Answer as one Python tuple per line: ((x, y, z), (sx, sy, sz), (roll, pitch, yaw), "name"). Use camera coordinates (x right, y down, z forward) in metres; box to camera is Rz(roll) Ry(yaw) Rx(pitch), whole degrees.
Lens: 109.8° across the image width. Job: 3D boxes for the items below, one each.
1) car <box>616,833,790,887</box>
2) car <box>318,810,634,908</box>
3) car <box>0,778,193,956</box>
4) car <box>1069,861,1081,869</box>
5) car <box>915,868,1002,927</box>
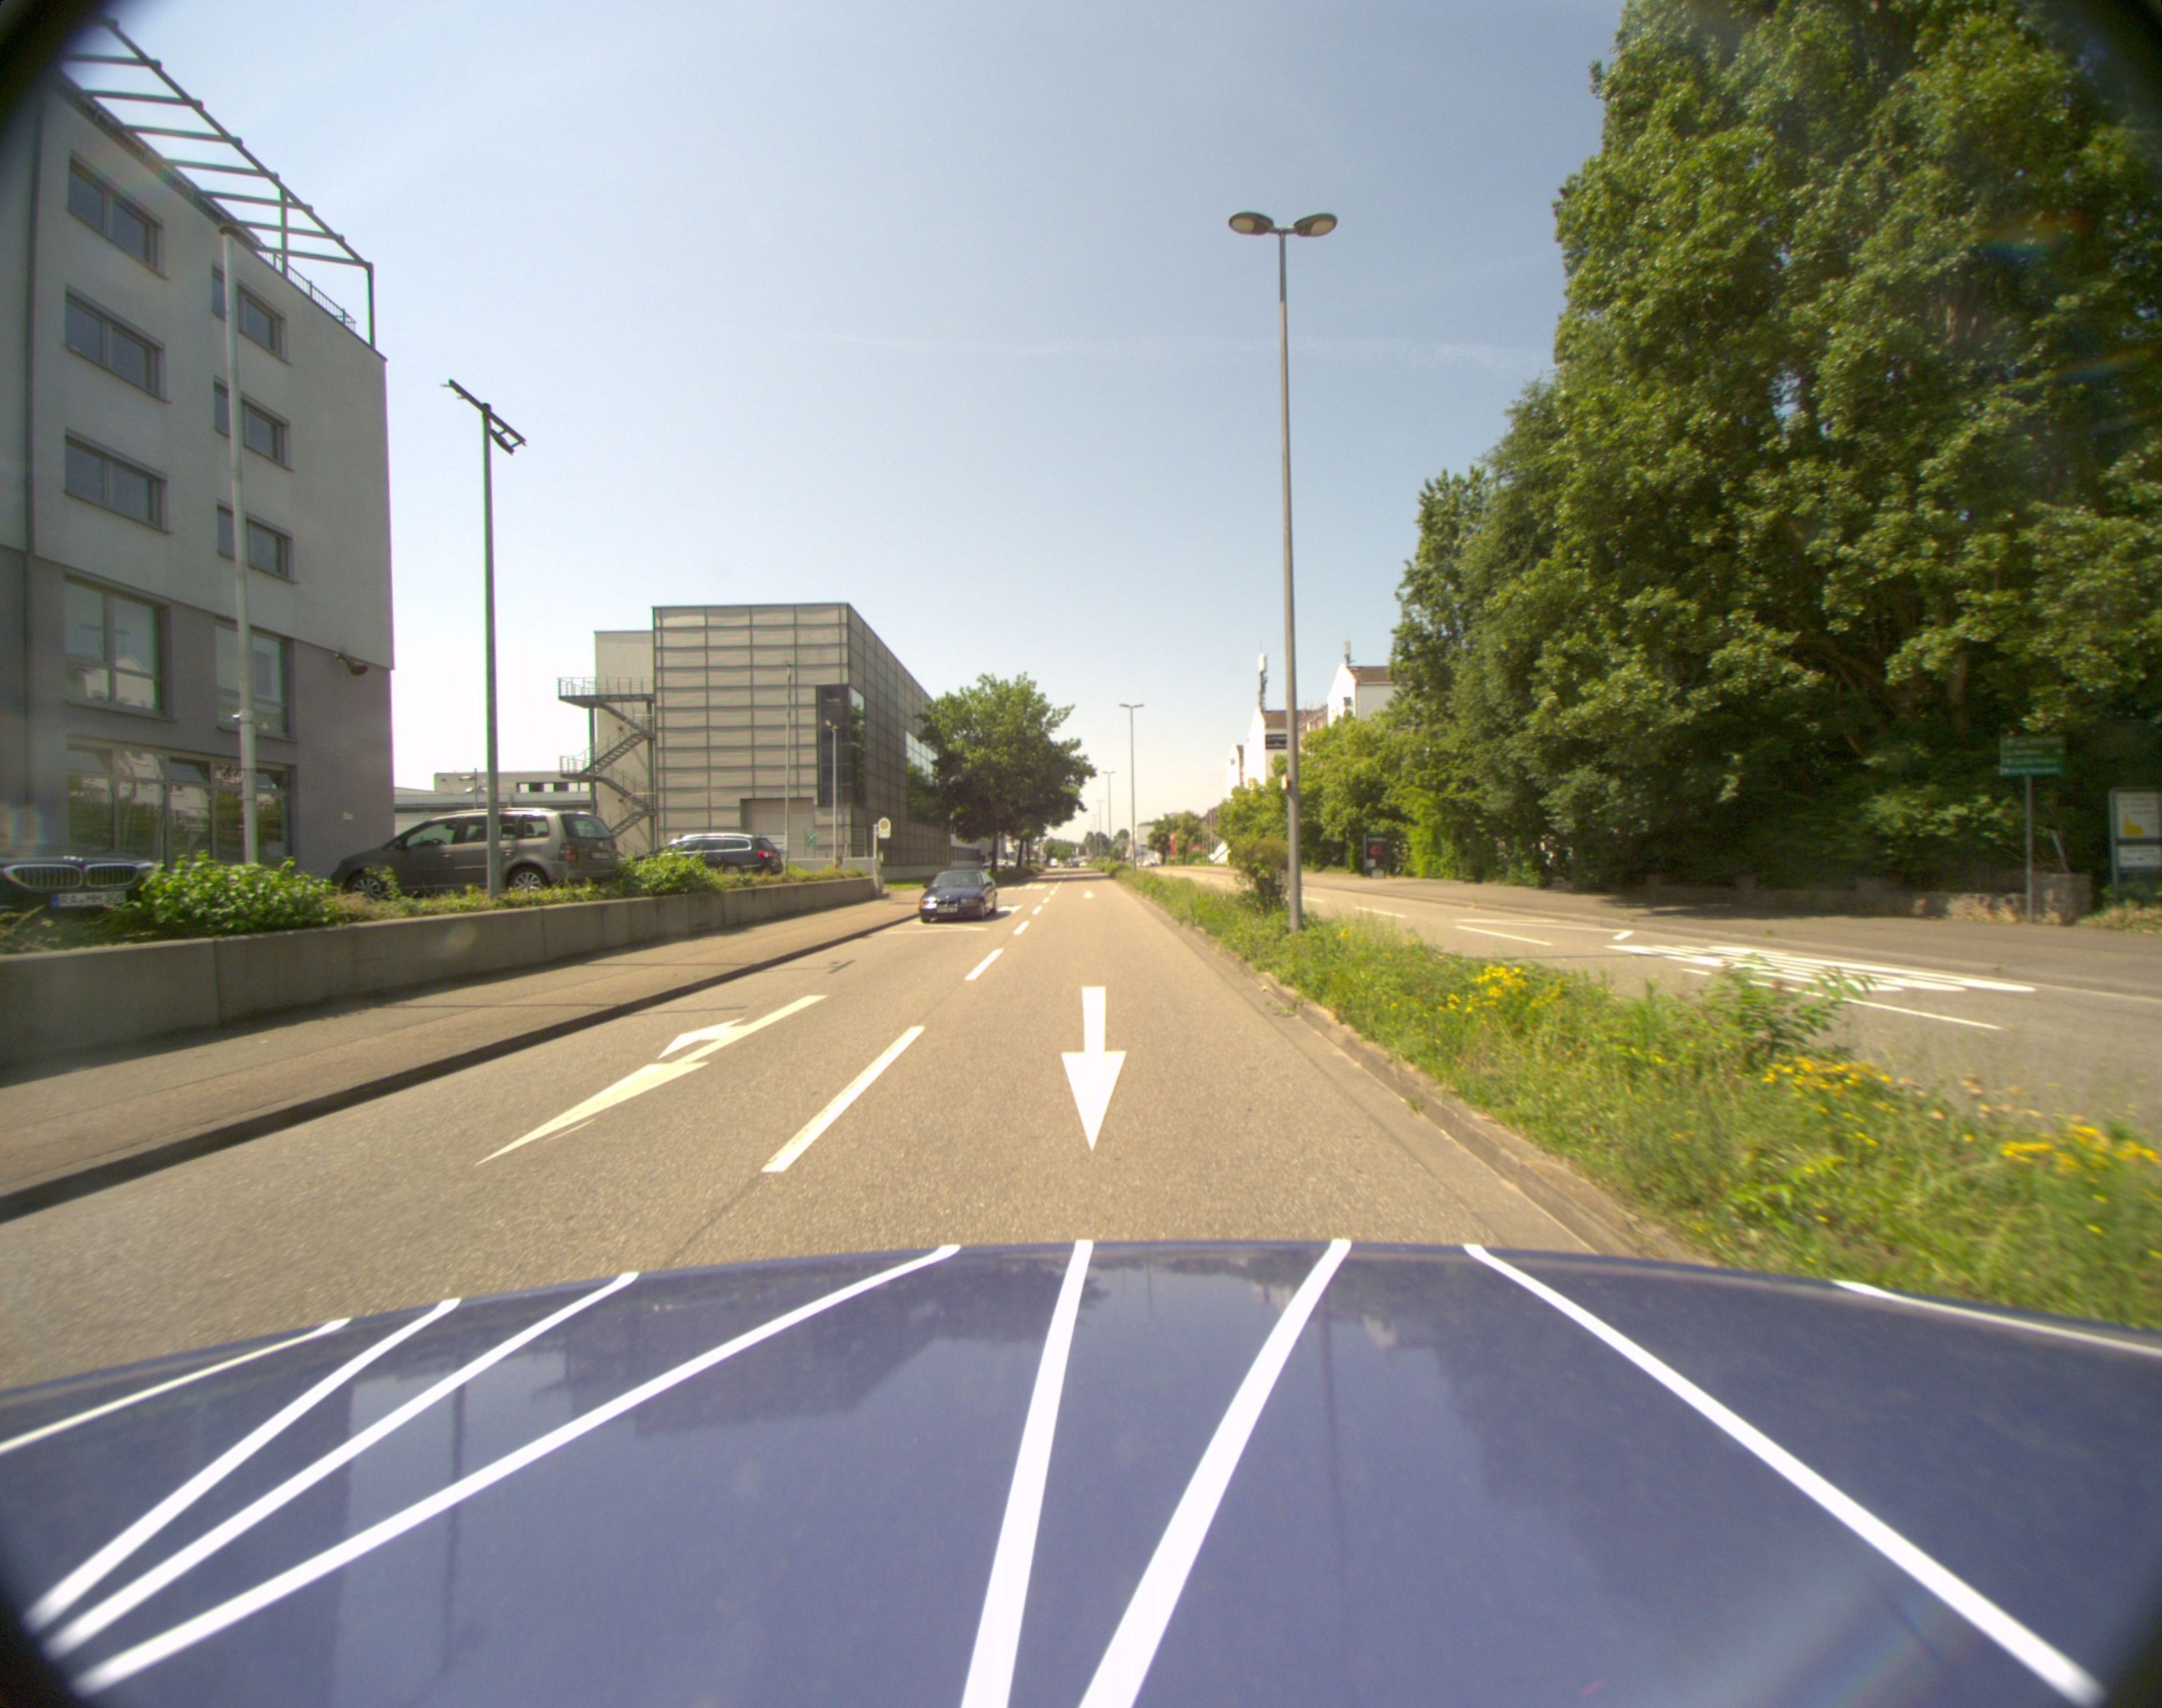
((-10.908, 0.157, 22.129), (4.137, 1.477, 1.758), (0, 1, -1), "car")
((-10.606, 0.066, 13.554), (4.137, 1.477, 1.758), (-2, 1, -1), "car")
((-10.765, 0.193, 6.129), (4.761, 1.373, 1.799), (-2, 1, -4), "car")
((-1.080, 1.881, 133.273), (1.867, 1.390, 4.000), (0, 0, 2), "car")
((-3.319, 1.153, 21.279), (1.711, 1.316, 3.955), (-2, 1, 1), "car")
